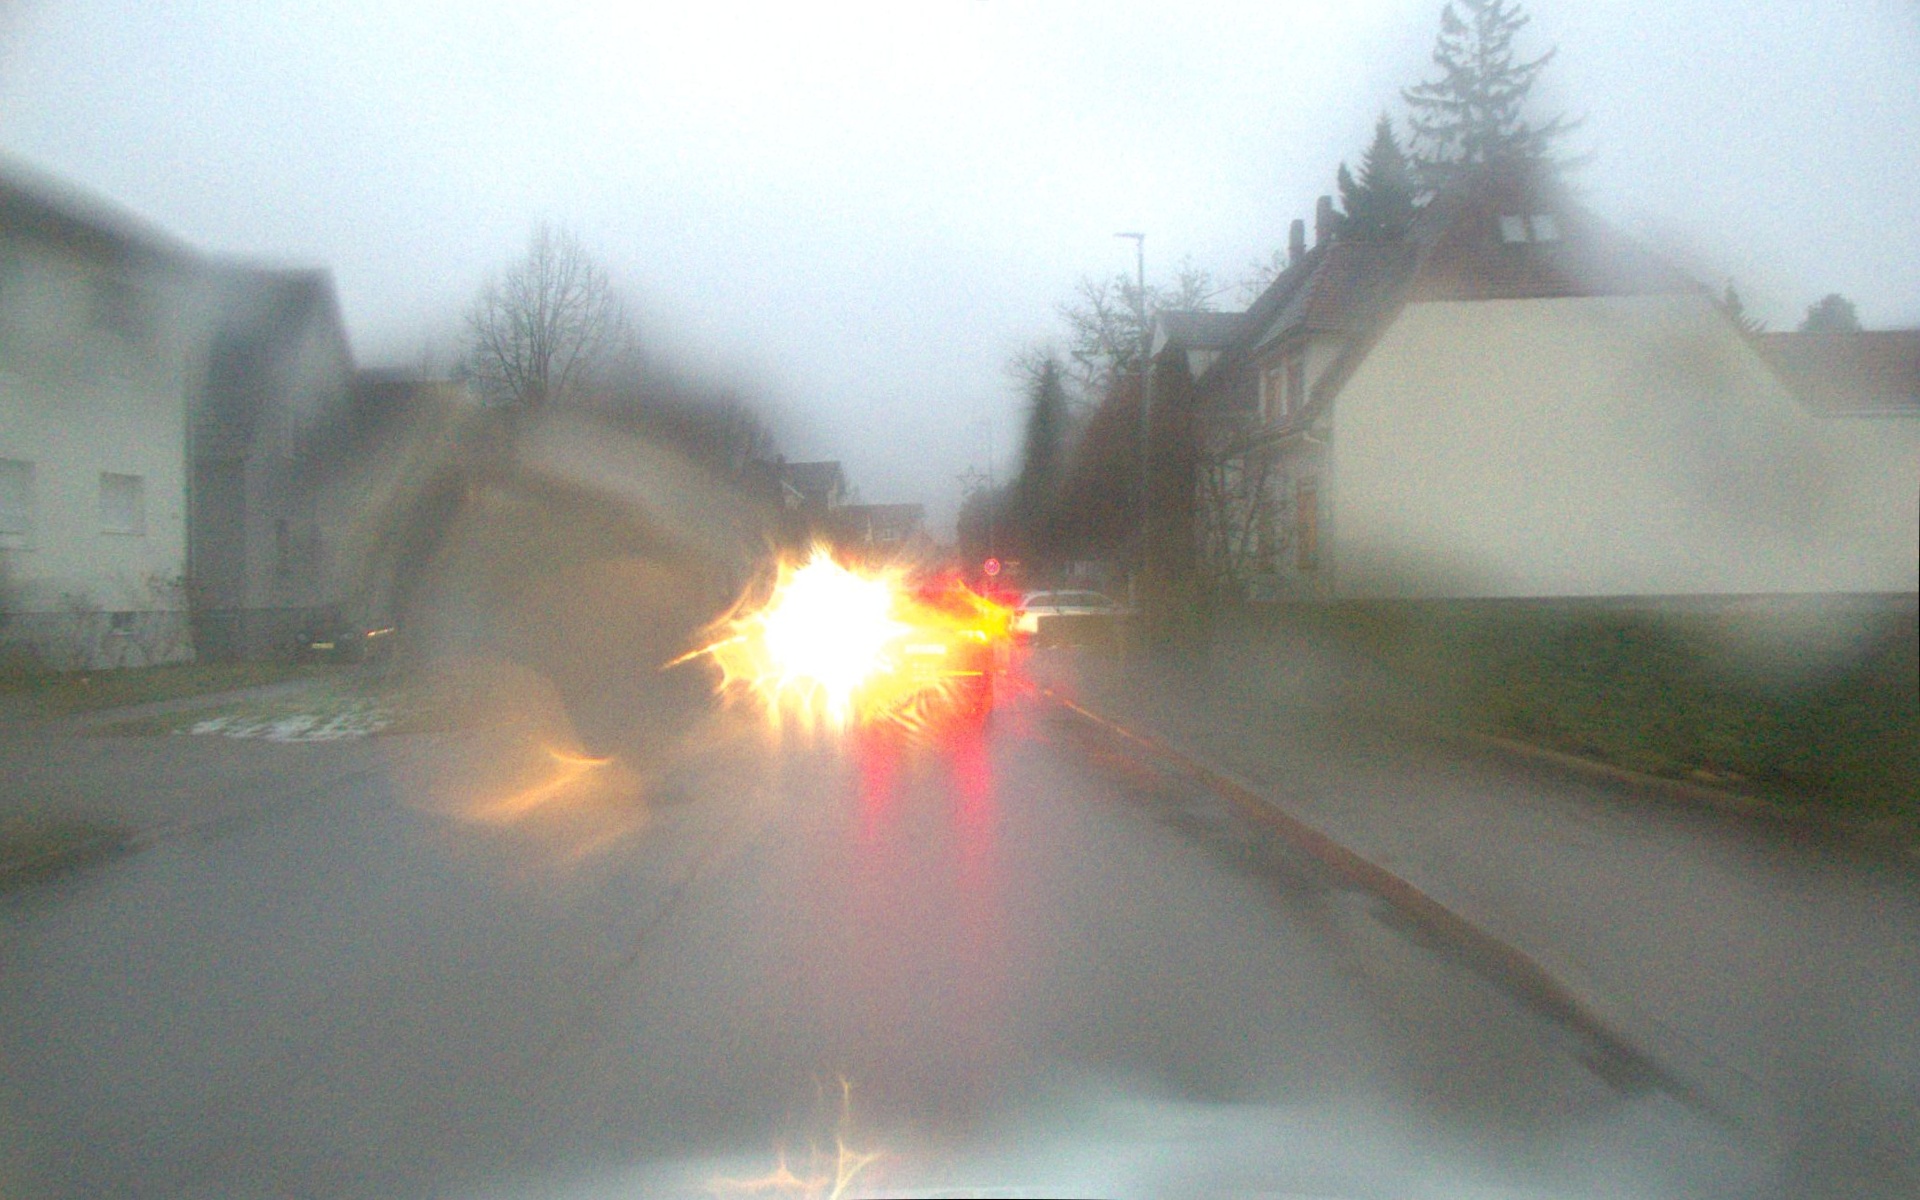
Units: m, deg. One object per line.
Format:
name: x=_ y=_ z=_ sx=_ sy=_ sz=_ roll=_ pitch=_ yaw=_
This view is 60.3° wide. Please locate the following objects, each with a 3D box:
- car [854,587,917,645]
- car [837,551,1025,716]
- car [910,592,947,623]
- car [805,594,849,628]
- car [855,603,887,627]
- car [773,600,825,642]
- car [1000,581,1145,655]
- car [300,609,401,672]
car: x=-2.289 y=0.453 z=50.072 sx=1.821 sy=1.676 sz=3.997 roll=0 pitch=1 yaw=-4
car: x=-0.485 y=0.427 z=22.737 sx=2.263 sy=1.972 sz=5.014 roll=-1 pitch=0 yaw=-3
car: x=-2.062 y=0.494 z=108.075 sx=2.263 sy=1.972 sz=5.015 roll=-1 pitch=0 yaw=-3
car: x=-6.641 y=0.532 z=83.027 sx=1.874 sy=1.456 sz=4.001 roll=-1 pitch=3 yaw=0
car: x=-5.445 y=0.914 z=101.687 sx=1.805 sy=1.355 sz=3.937 roll=-1 pitch=0 yaw=-1
car: x=-6.579 y=0.837 z=68.053 sx=1.874 sy=1.549 sz=3.999 roll=-1 pitch=2 yaw=-2
car: x=3.293 y=0.514 z=48.951 sx=4.159 sy=2.049 sz=1.811 roll=-1 pitch=0 yaw=1
car: x=-14.630 y=0.955 z=39.884 sx=1.746 sy=1.417 sz=3.987 roll=1 pitch=-1 yaw=-13
